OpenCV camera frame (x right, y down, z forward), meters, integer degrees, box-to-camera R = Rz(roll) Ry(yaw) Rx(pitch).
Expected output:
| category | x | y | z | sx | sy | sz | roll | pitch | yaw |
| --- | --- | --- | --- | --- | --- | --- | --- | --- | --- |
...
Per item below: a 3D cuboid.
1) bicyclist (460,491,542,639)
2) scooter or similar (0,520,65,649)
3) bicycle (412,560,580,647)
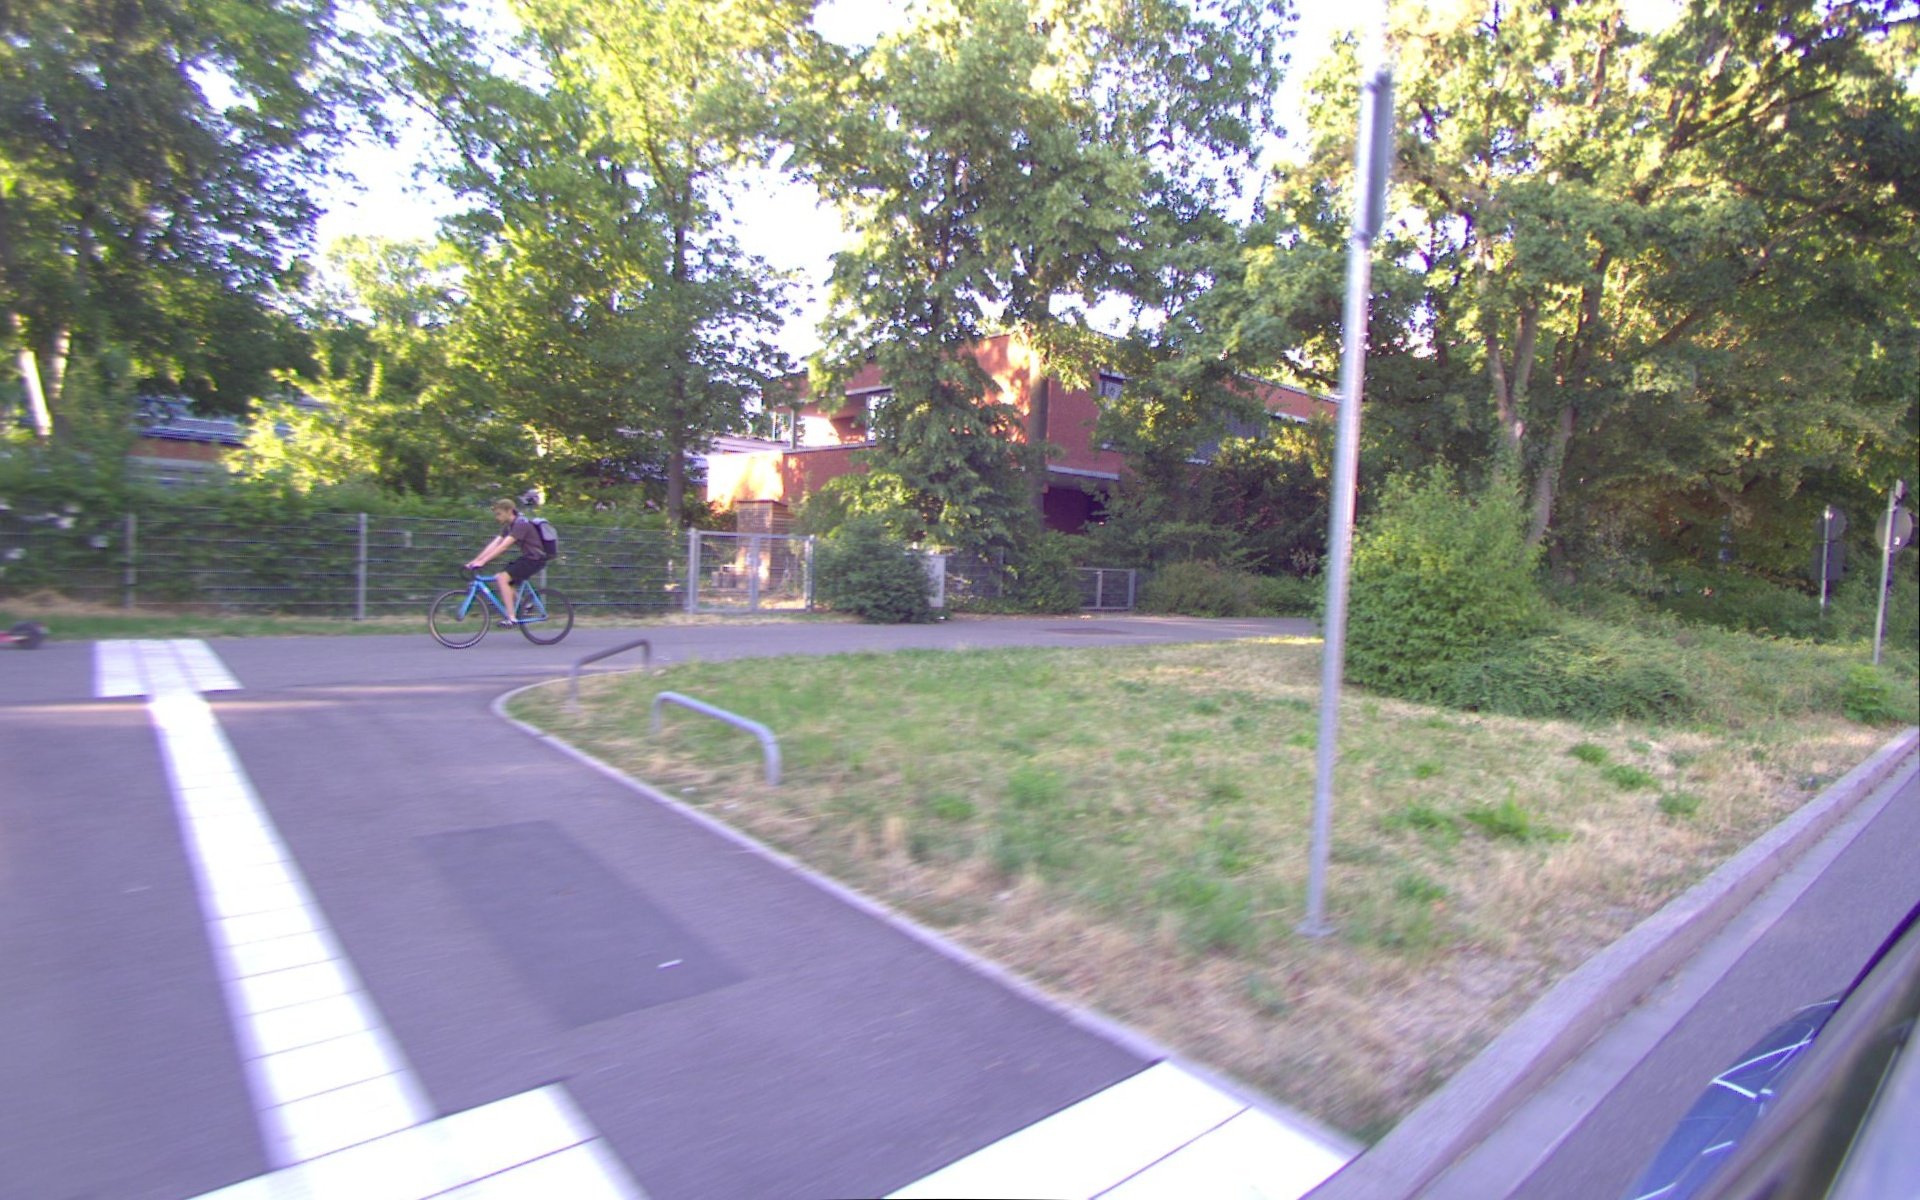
| category | x | y | z | sx | sy | sz | roll | pitch | yaw |
| --- | --- | --- | --- | --- | --- | --- | --- | --- | --- |
| bicyclist | -5.360 | -0.409 | 11.817 | 0.712 | 1.664 | 0.533 | 0 | 3 | -42 |
| scooter or similar | -9.602 | -0.168 | 9.762 | 1.439 | 1.222 | 0.388 | 2 | 2 | -13 |
| bicycle | -5.390 | 0.027 | 11.818 | 1.693 | 0.929 | 0.533 | 0 | 3 | -43 |
